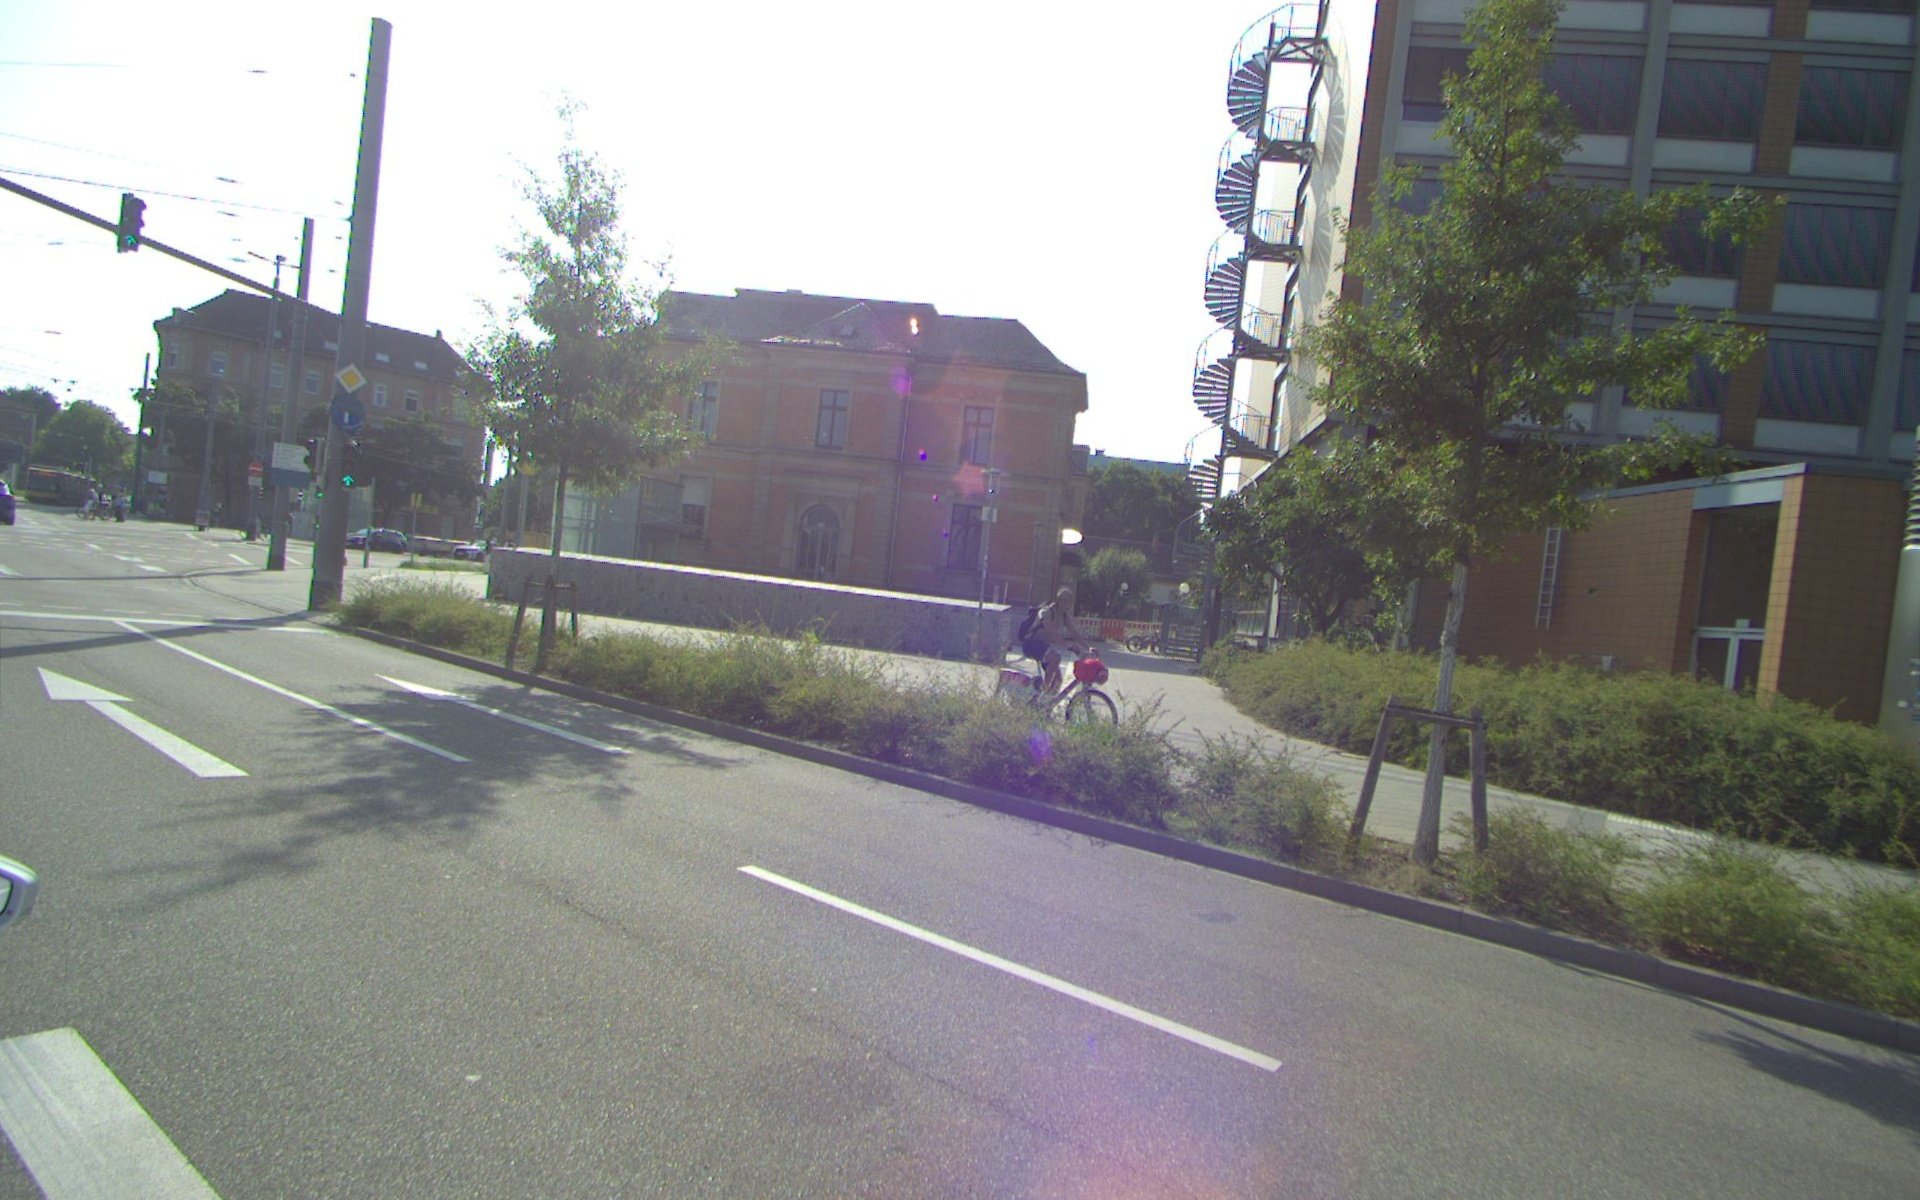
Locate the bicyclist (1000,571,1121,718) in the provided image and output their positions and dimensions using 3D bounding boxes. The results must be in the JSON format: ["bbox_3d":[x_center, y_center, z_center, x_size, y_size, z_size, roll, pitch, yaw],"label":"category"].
[{"bbox_3d":[1.149,0.504,11.521,0.989,1.532,0.719,7,1,37],"label":"bicyclist"}]

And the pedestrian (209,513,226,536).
[{"bbox_3d":[-50.749,-5.174,68.755,0.537,1.489,0.667,6,1,-7],"label":"pedestrian"}]

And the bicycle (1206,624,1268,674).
[{"bbox_3d":[9.376,1.649,34.103,1.803,1.451,0.608,7,1,10],"label":"bicycle"}]

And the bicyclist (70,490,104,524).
[{"bbox_3d":[-50.941,-5.418,58.714,1.072,1.822,0.937,7,1,13],"label":"bicyclist"}]

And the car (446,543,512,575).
[{"bbox_3d":[-36.016,-3.024,75.490,2.006,1.881,4.667,7,0,9],"label":"car"}]

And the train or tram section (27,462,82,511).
[{"bbox_3d":[-81.259,-10.127,90.440,2.641,3.746,10.477,6,1,-38],"label":"train or tram section"}]

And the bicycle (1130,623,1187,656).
[{"bbox_3d":[8.436,1.672,42.747,2.200,1.084,0.579,7,1,4],"label":"bicycle"}]

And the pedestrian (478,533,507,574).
[{"bbox_3d":[-20.949,-2.052,45.077,0.908,1.711,0.834,7,1,-16],"label":"pedestrian"}]

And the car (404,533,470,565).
[{"bbox_3d":[-40.479,-3.940,77.952,1.895,1.881,4.274,7,0,19],"label":"car"}]

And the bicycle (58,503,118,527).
[{"bbox_3d":[-49.446,-4.809,57.075,1.073,0.976,2.626,7,0,0],"label":"bicycle"}]

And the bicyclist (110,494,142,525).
[{"bbox_3d":[-50.825,-5.495,61.327,1.072,1.701,0.937,7,1,13],"label":"bicyclist"}]

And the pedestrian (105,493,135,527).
[{"bbox_3d":[-49.357,-5.256,59.139,0.844,1.820,0.927,7,1,-4],"label":"pedestrian"}]

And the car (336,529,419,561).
[{"bbox_3d":[-35.814,-3.335,61.969,1.985,1.414,4.390,7,0,9],"label":"car"}]

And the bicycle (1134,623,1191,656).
[{"bbox_3d":[8.421,1.638,41.934,2.152,1.067,0.631,7,1,4],"label":"bicycle"}]

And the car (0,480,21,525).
[{"bbox_3d":[-34.632,-3.584,35.477,4.351,1.446,1.822,7,1,42],"label":"car"}]

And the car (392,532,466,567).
[{"bbox_3d":[-37.041,-3.465,70.371,1.873,1.881,4.712,7,0,11],"label":"car"}]

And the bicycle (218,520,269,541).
[{"bbox_3d":[-42.929,-4.148,60.316,1.073,0.976,2.626,6,0,0],"label":"bicycle"}]

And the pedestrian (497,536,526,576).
[{"bbox_3d":[-20.586,-1.999,46.212,0.908,1.711,0.922,7,1,-13],"label":"pedestrian"}]

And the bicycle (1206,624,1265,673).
[{"bbox_3d":[9.576,1.680,35.015,1.781,1.451,0.608,7,1,10],"label":"bicycle"}]

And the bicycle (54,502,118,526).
[{"bbox_3d":[-50.990,-4.994,58.741,1.072,0.976,2.627,7,0,13],"label":"bicycle"}]

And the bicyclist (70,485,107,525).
[{"bbox_3d":[-49.386,-5.357,57.018,1.073,2.050,0.936,7,1,0],"label":"bicyclist"}]

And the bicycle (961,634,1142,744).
[{"bbox_3d":[1.029,0.994,11.583,1.892,0.972,0.719,7,1,37],"label":"bicycle"}]

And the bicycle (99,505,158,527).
[{"bbox_3d":[-50.832,-5.120,61.528,1.072,0.976,2.627,7,0,13],"label":"bicycle"}]

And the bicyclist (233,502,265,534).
[{"bbox_3d":[-42.842,-4.911,60.620,1.073,1.730,0.936,7,1,0],"label":"bicyclist"}]
